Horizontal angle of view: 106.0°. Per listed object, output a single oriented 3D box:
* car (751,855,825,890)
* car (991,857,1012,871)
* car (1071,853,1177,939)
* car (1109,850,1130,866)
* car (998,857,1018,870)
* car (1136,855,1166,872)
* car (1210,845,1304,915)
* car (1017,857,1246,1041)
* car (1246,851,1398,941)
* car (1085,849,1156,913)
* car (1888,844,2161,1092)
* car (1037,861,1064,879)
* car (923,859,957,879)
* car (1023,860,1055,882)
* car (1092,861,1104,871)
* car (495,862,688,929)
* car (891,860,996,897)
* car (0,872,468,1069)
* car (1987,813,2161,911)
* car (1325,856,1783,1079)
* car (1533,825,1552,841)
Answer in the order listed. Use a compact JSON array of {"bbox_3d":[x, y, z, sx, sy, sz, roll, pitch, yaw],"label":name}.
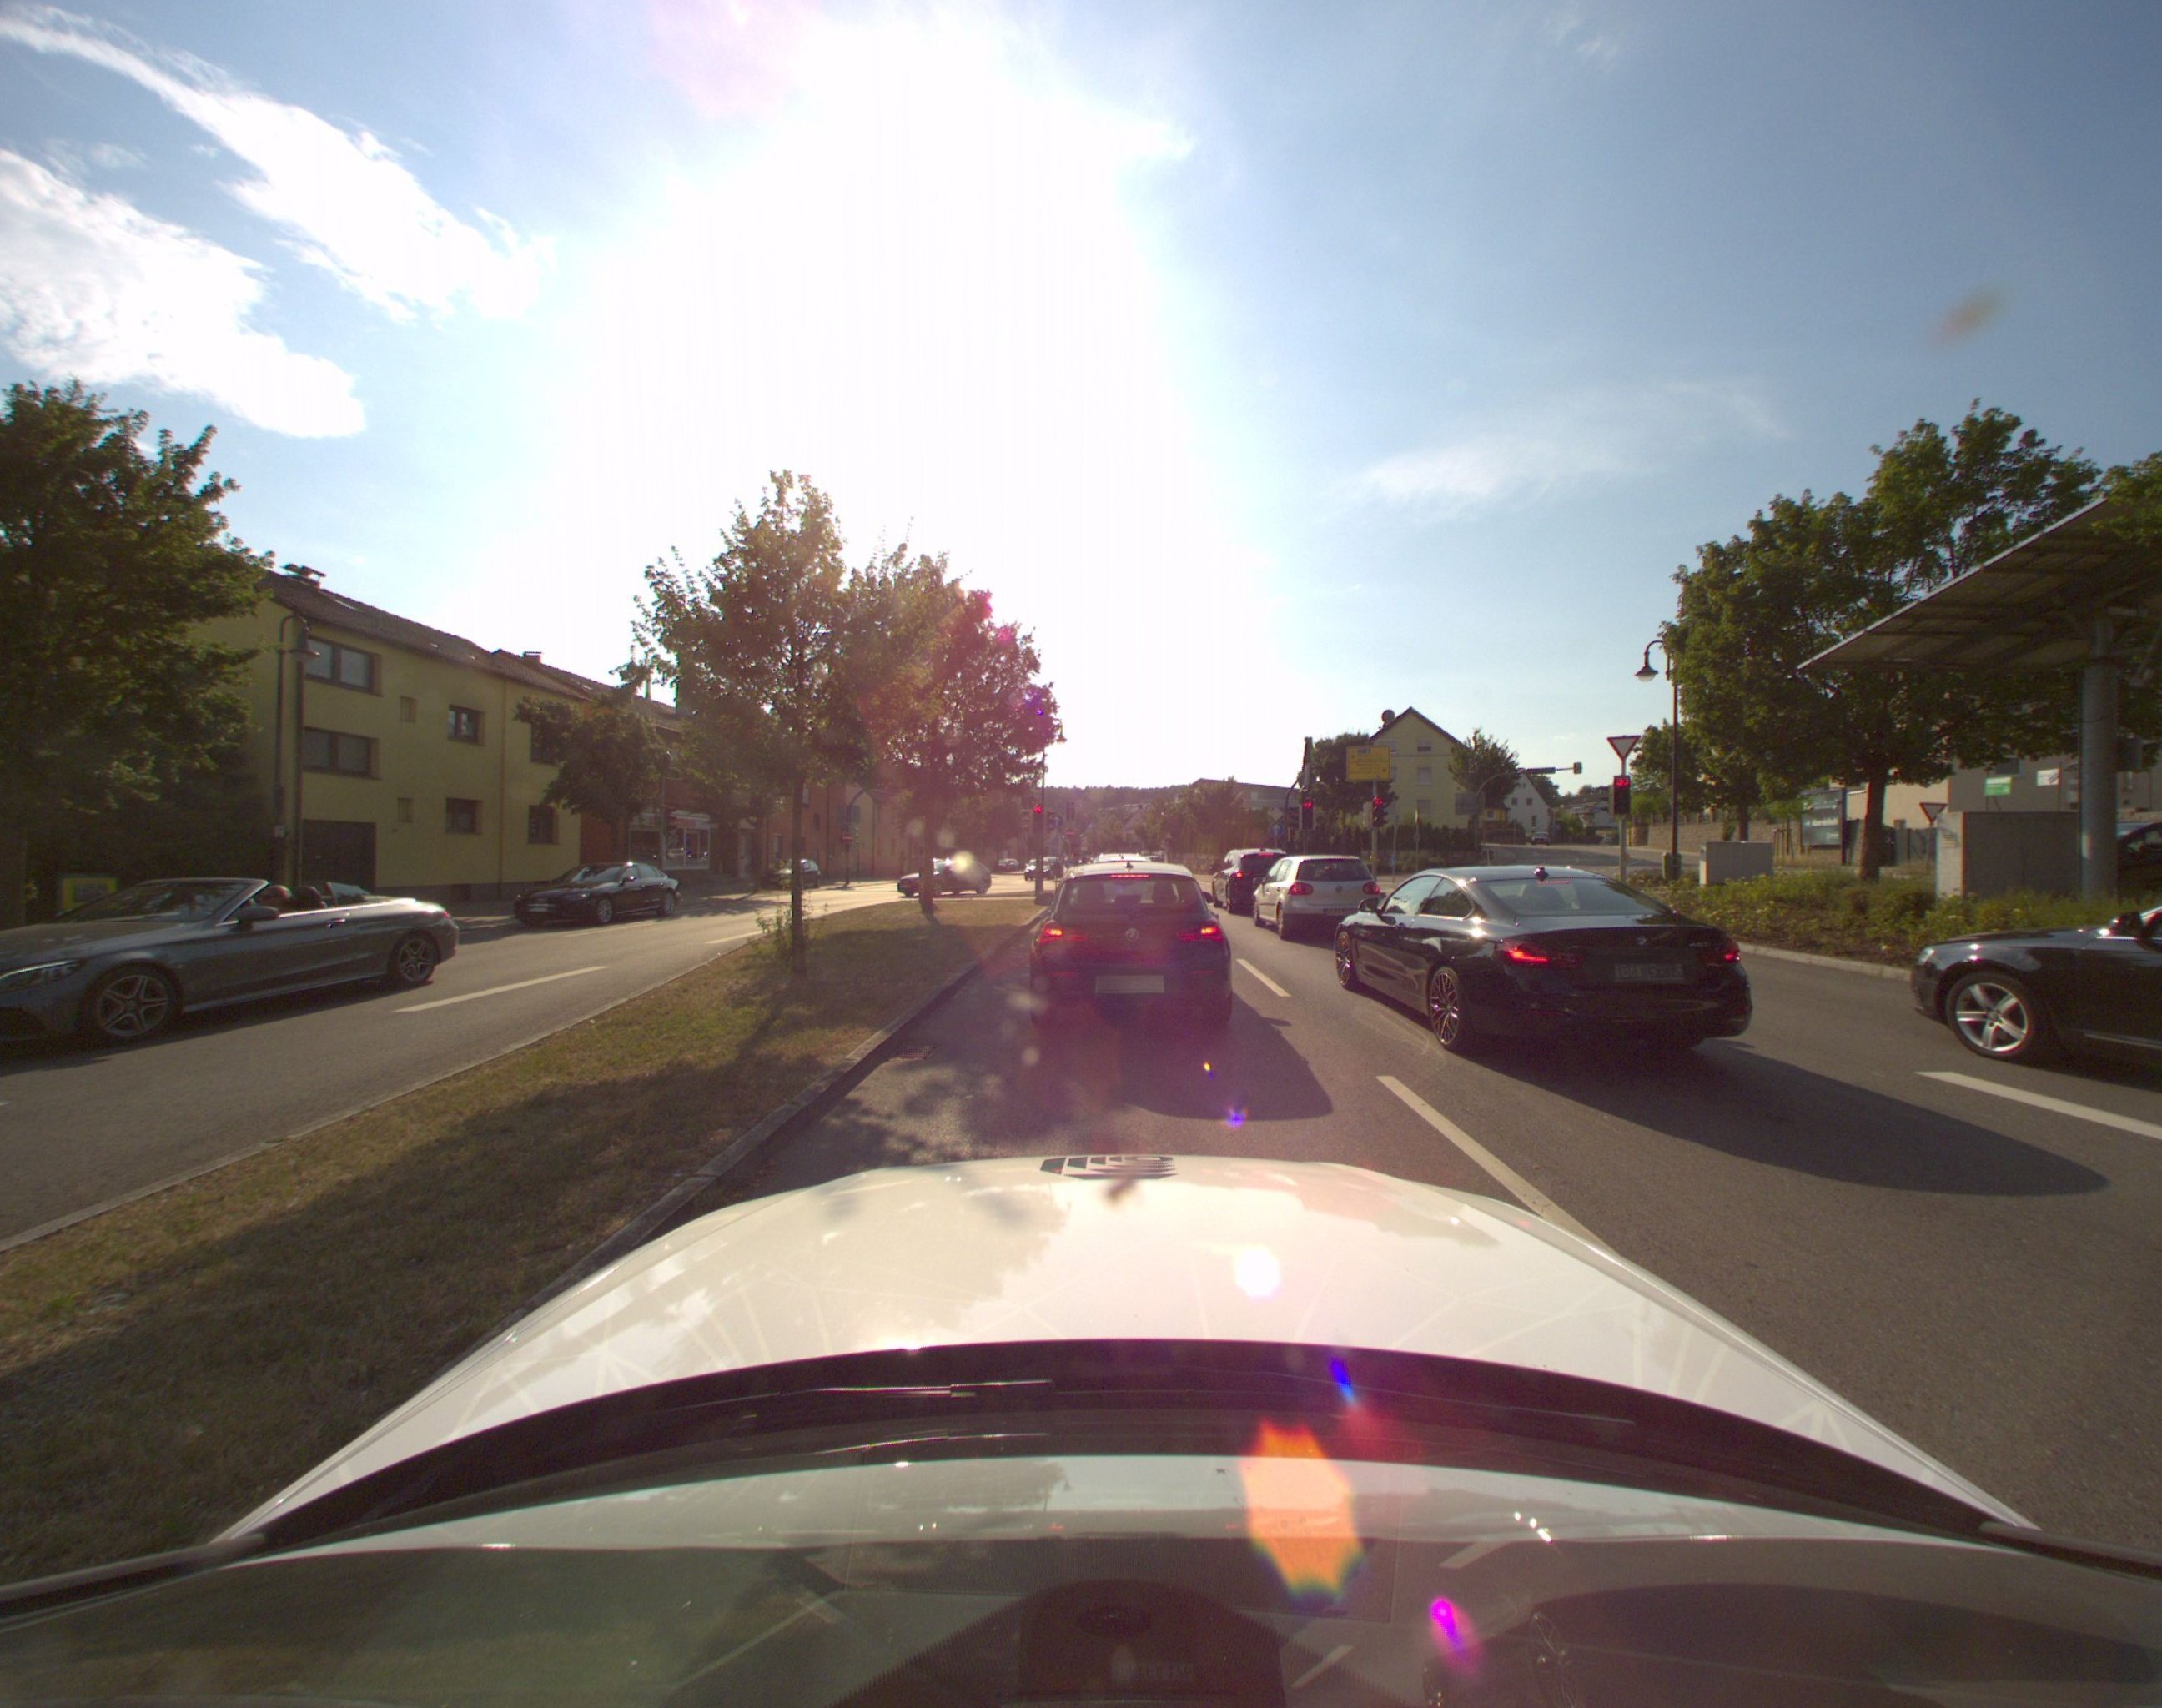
[{"bbox_3d":[-14.199,0.877,39.648,1.835,1.552,4.005,2,0,5],"label":"car"},{"bbox_3d":[-9.710,1.191,99.332,1.916,1.596,4.004,0,0,4],"label":"car"},{"bbox_3d":[0.864,0.722,16.078,1.808,1.451,4.245,-1,0,3],"label":"car"},{"bbox_3d":[4.444,0.444,93.887,1.887,1.702,4.518,-2,0,-4],"label":"car"},{"bbox_3d":[-9.410,1.190,104.834,1.916,1.596,4.004,0,0,4],"label":"car"},{"bbox_3d":[6.384,0.865,75.039,1.860,1.485,4.648,0,0,-6],"label":"car"},{"bbox_3d":[4.585,0.621,21.827,1.808,1.666,4.351,-1,0,3],"label":"car"},{"bbox_3d":[0.520,0.760,8.565,1.783,1.414,4.351,-1,0,3],"label":"car"},{"bbox_3d":[4.346,0.681,15.387,1.808,1.446,4.351,-1,0,3],"label":"car"},{"bbox_3d":[1.140,0.695,22.945,1.808,1.641,4.245,-1,0,3],"label":"car"},{"bbox_3d":[7.049,0.655,4.067,1.674,1.435,4.593,-1,0,3],"label":"car"},{"bbox_3d":[-2.336,1.210,63.752,1.685,1.353,4.004,0,0,4],"label":"car"},{"bbox_3d":[-11.846,1.243,68.696,1.916,1.596,4.004,0,0,4],"label":"car"},{"bbox_3d":[-2.883,1.158,56.695,1.759,1.458,4.004,0,0,4],"label":"car"},{"bbox_3d":[2.919,1.980,136.875,1.917,1.596,4.002,0,0,2],"label":"car"},{"bbox_3d":[-11.777,0.927,20.049,1.836,1.421,4.646,0,0,2],"label":"car"},{"bbox_3d":[-5.521,0.942,33.079,1.629,1.386,4.216,0,0,37],"label":"car"},{"bbox_3d":[-8.759,0.910,8.201,1.774,1.349,4.477,0,0,0],"label":"car"},{"bbox_3d":[18.878,0.121,14.067,3.958,1.608,1.861,0,0,14],"label":"car"},{"bbox_3d":[3.650,0.732,7.354,1.808,1.388,4.351,-1,0,3],"label":"car"},{"bbox_3d":[50.356,-2.306,88.861,1.769,1.506,4.096,0,4,31],"label":"car"}]
